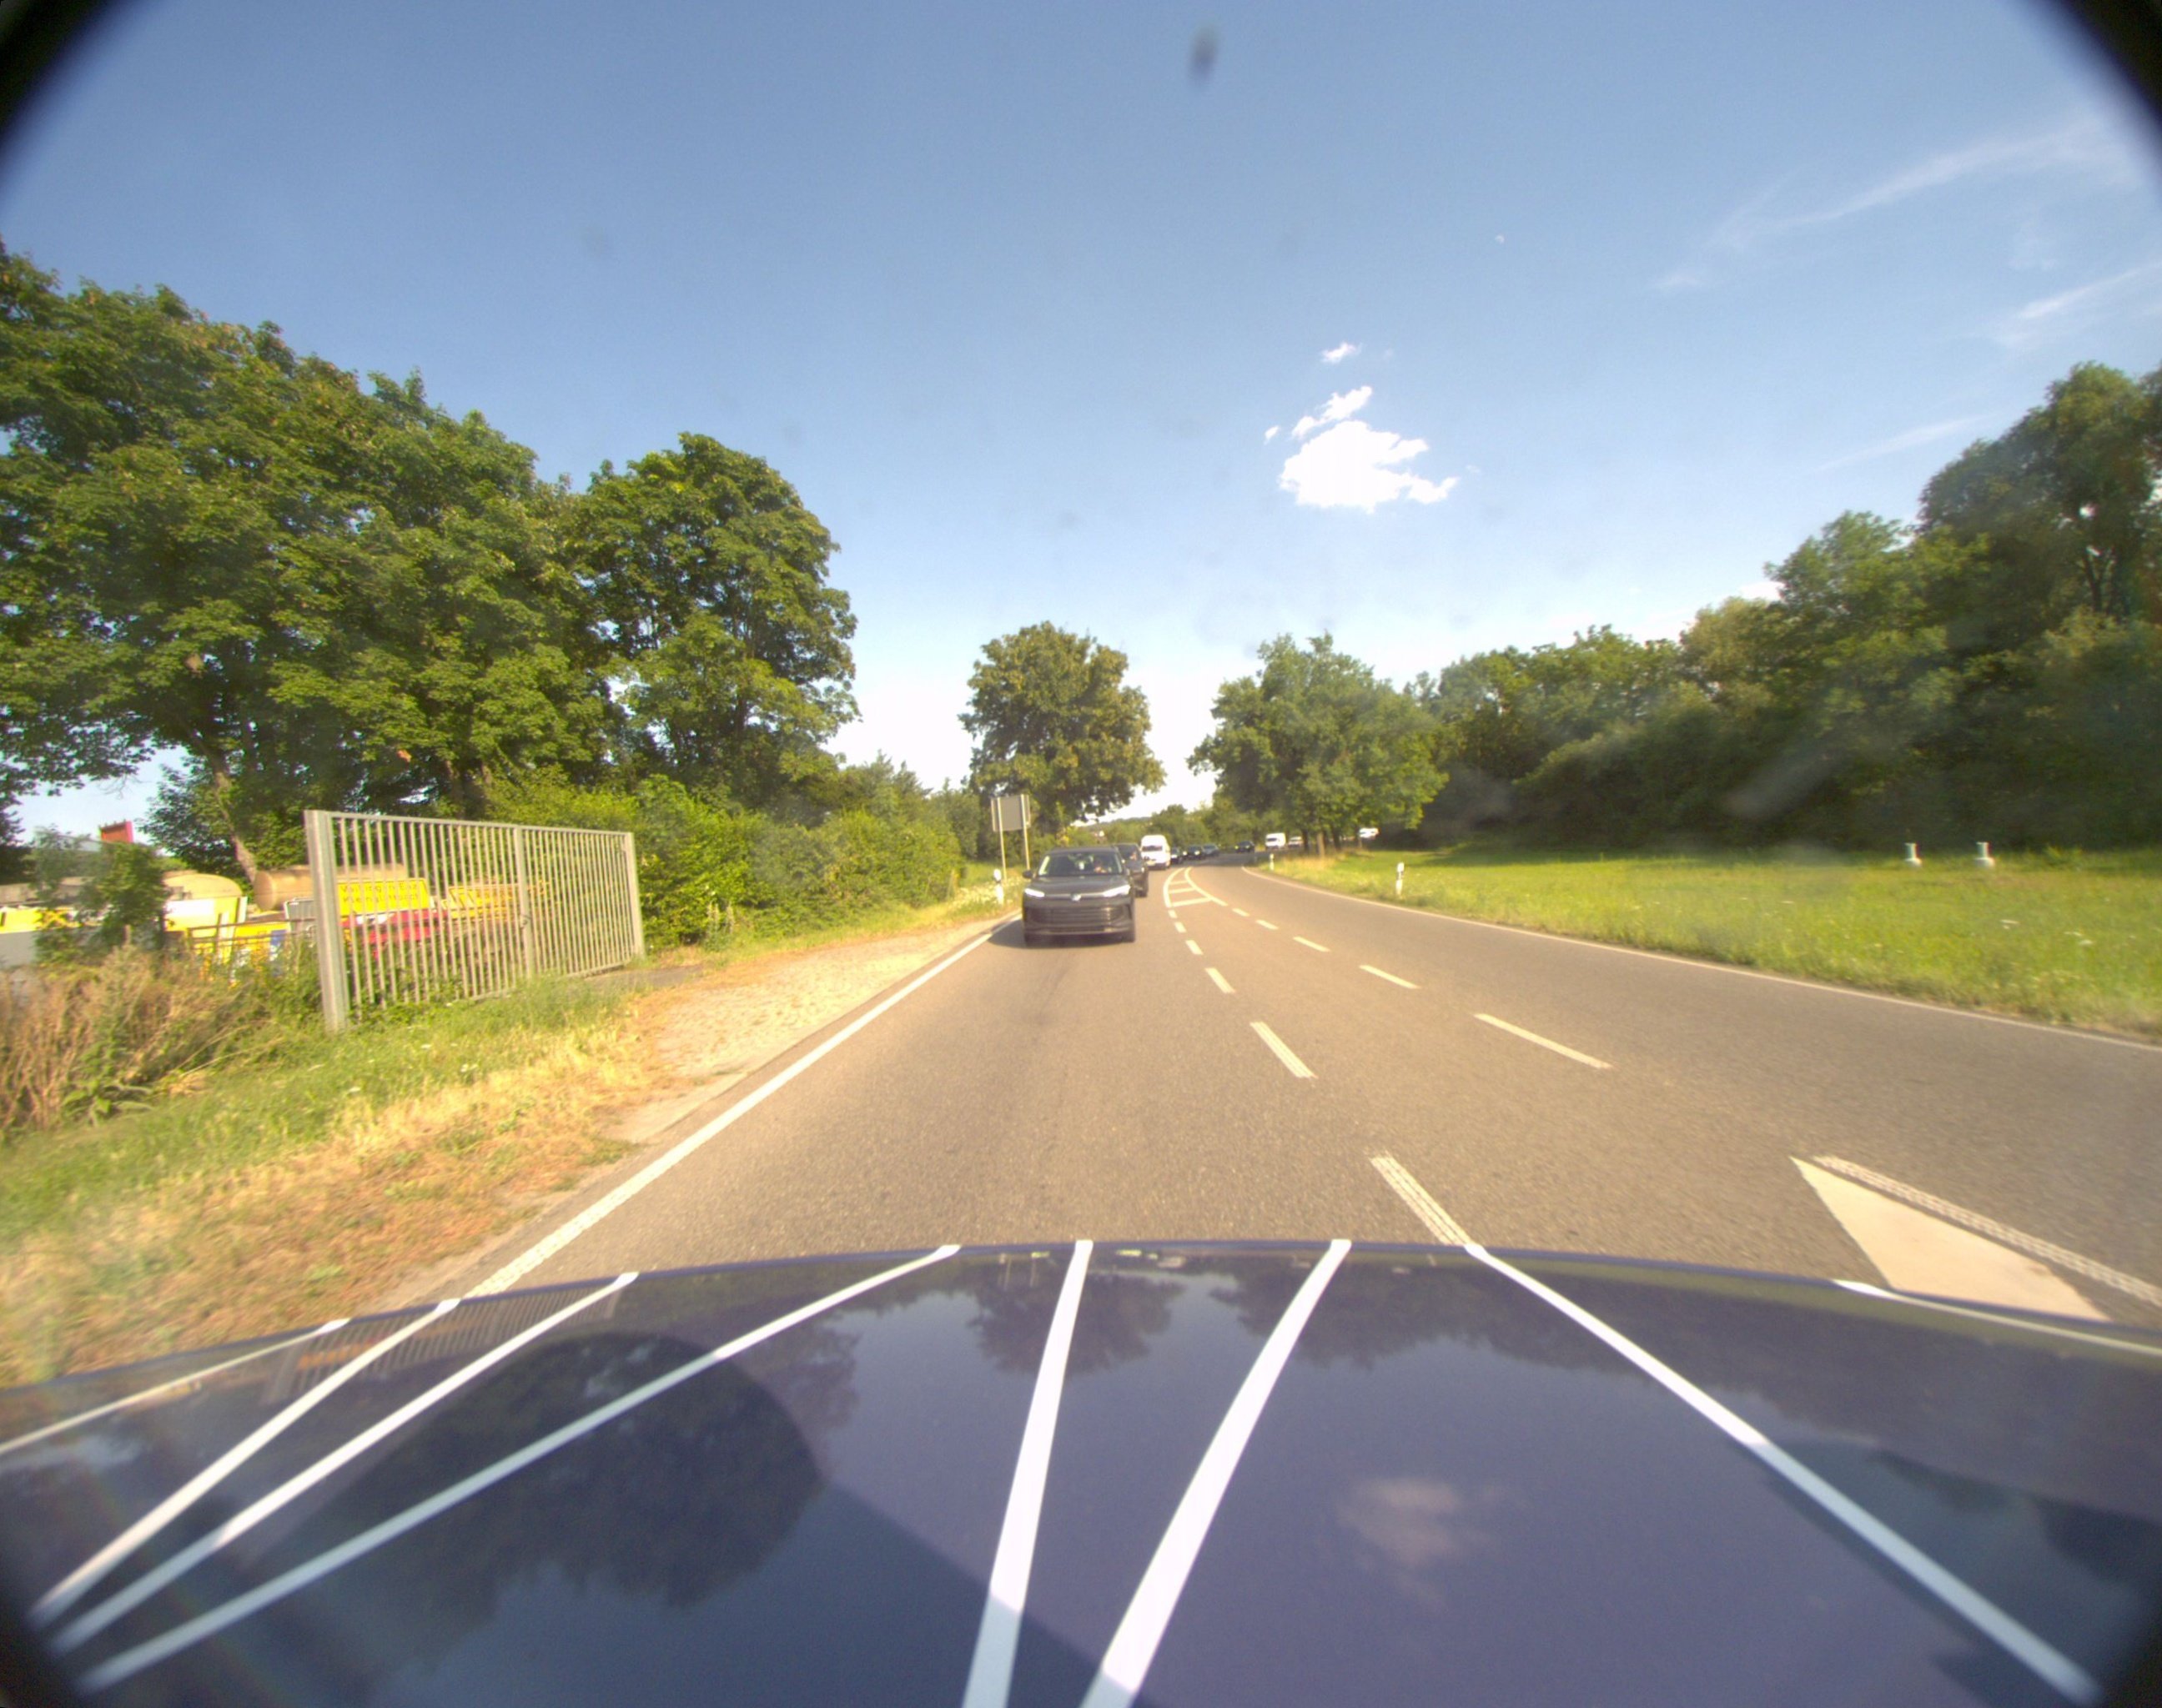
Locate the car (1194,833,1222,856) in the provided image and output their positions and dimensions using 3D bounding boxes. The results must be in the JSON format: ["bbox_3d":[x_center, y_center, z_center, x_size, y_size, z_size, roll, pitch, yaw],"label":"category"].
[{"bbox_3d":[14.633,-1.161,87.330,2.085,2.403,5.148,-2,2,22],"label":"car"}]

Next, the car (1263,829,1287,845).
[{"bbox_3d":[30.866,-2.719,120.929,2.084,2.403,5.151,-2,2,34],"label":"car"}]

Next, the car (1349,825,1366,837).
[{"bbox_3d":[57.326,-4.831,157.577,2.084,2.403,5.151,-2,2,34],"label":"car"}]

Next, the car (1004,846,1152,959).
[{"bbox_3d":[0.165,0.724,13.786,1.921,1.612,4.704,-3,1,9],"label":"car"}]

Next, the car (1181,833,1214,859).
[{"bbox_3d":[11.938,-0.809,77.464,2.085,2.403,5.148,-2,2,22],"label":"car"}]

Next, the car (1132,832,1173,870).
[{"bbox_3d":[4.952,-0.272,51.912,2.086,2.403,5.145,-2,1,12],"label":"car"}]

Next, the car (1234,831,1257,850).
[{"bbox_3d":[22.258,-1.887,102.859,2.085,2.403,5.148,-2,2,22],"label":"car"}]

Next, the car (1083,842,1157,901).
[{"bbox_3d":[1.411,0.506,25.408,1.921,1.719,4.704,-3,1,9],"label":"car"}]

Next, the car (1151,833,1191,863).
[{"bbox_3d":[7.858,-0.542,65.854,2.085,2.403,5.148,-2,2,22],"label":"car"}]
